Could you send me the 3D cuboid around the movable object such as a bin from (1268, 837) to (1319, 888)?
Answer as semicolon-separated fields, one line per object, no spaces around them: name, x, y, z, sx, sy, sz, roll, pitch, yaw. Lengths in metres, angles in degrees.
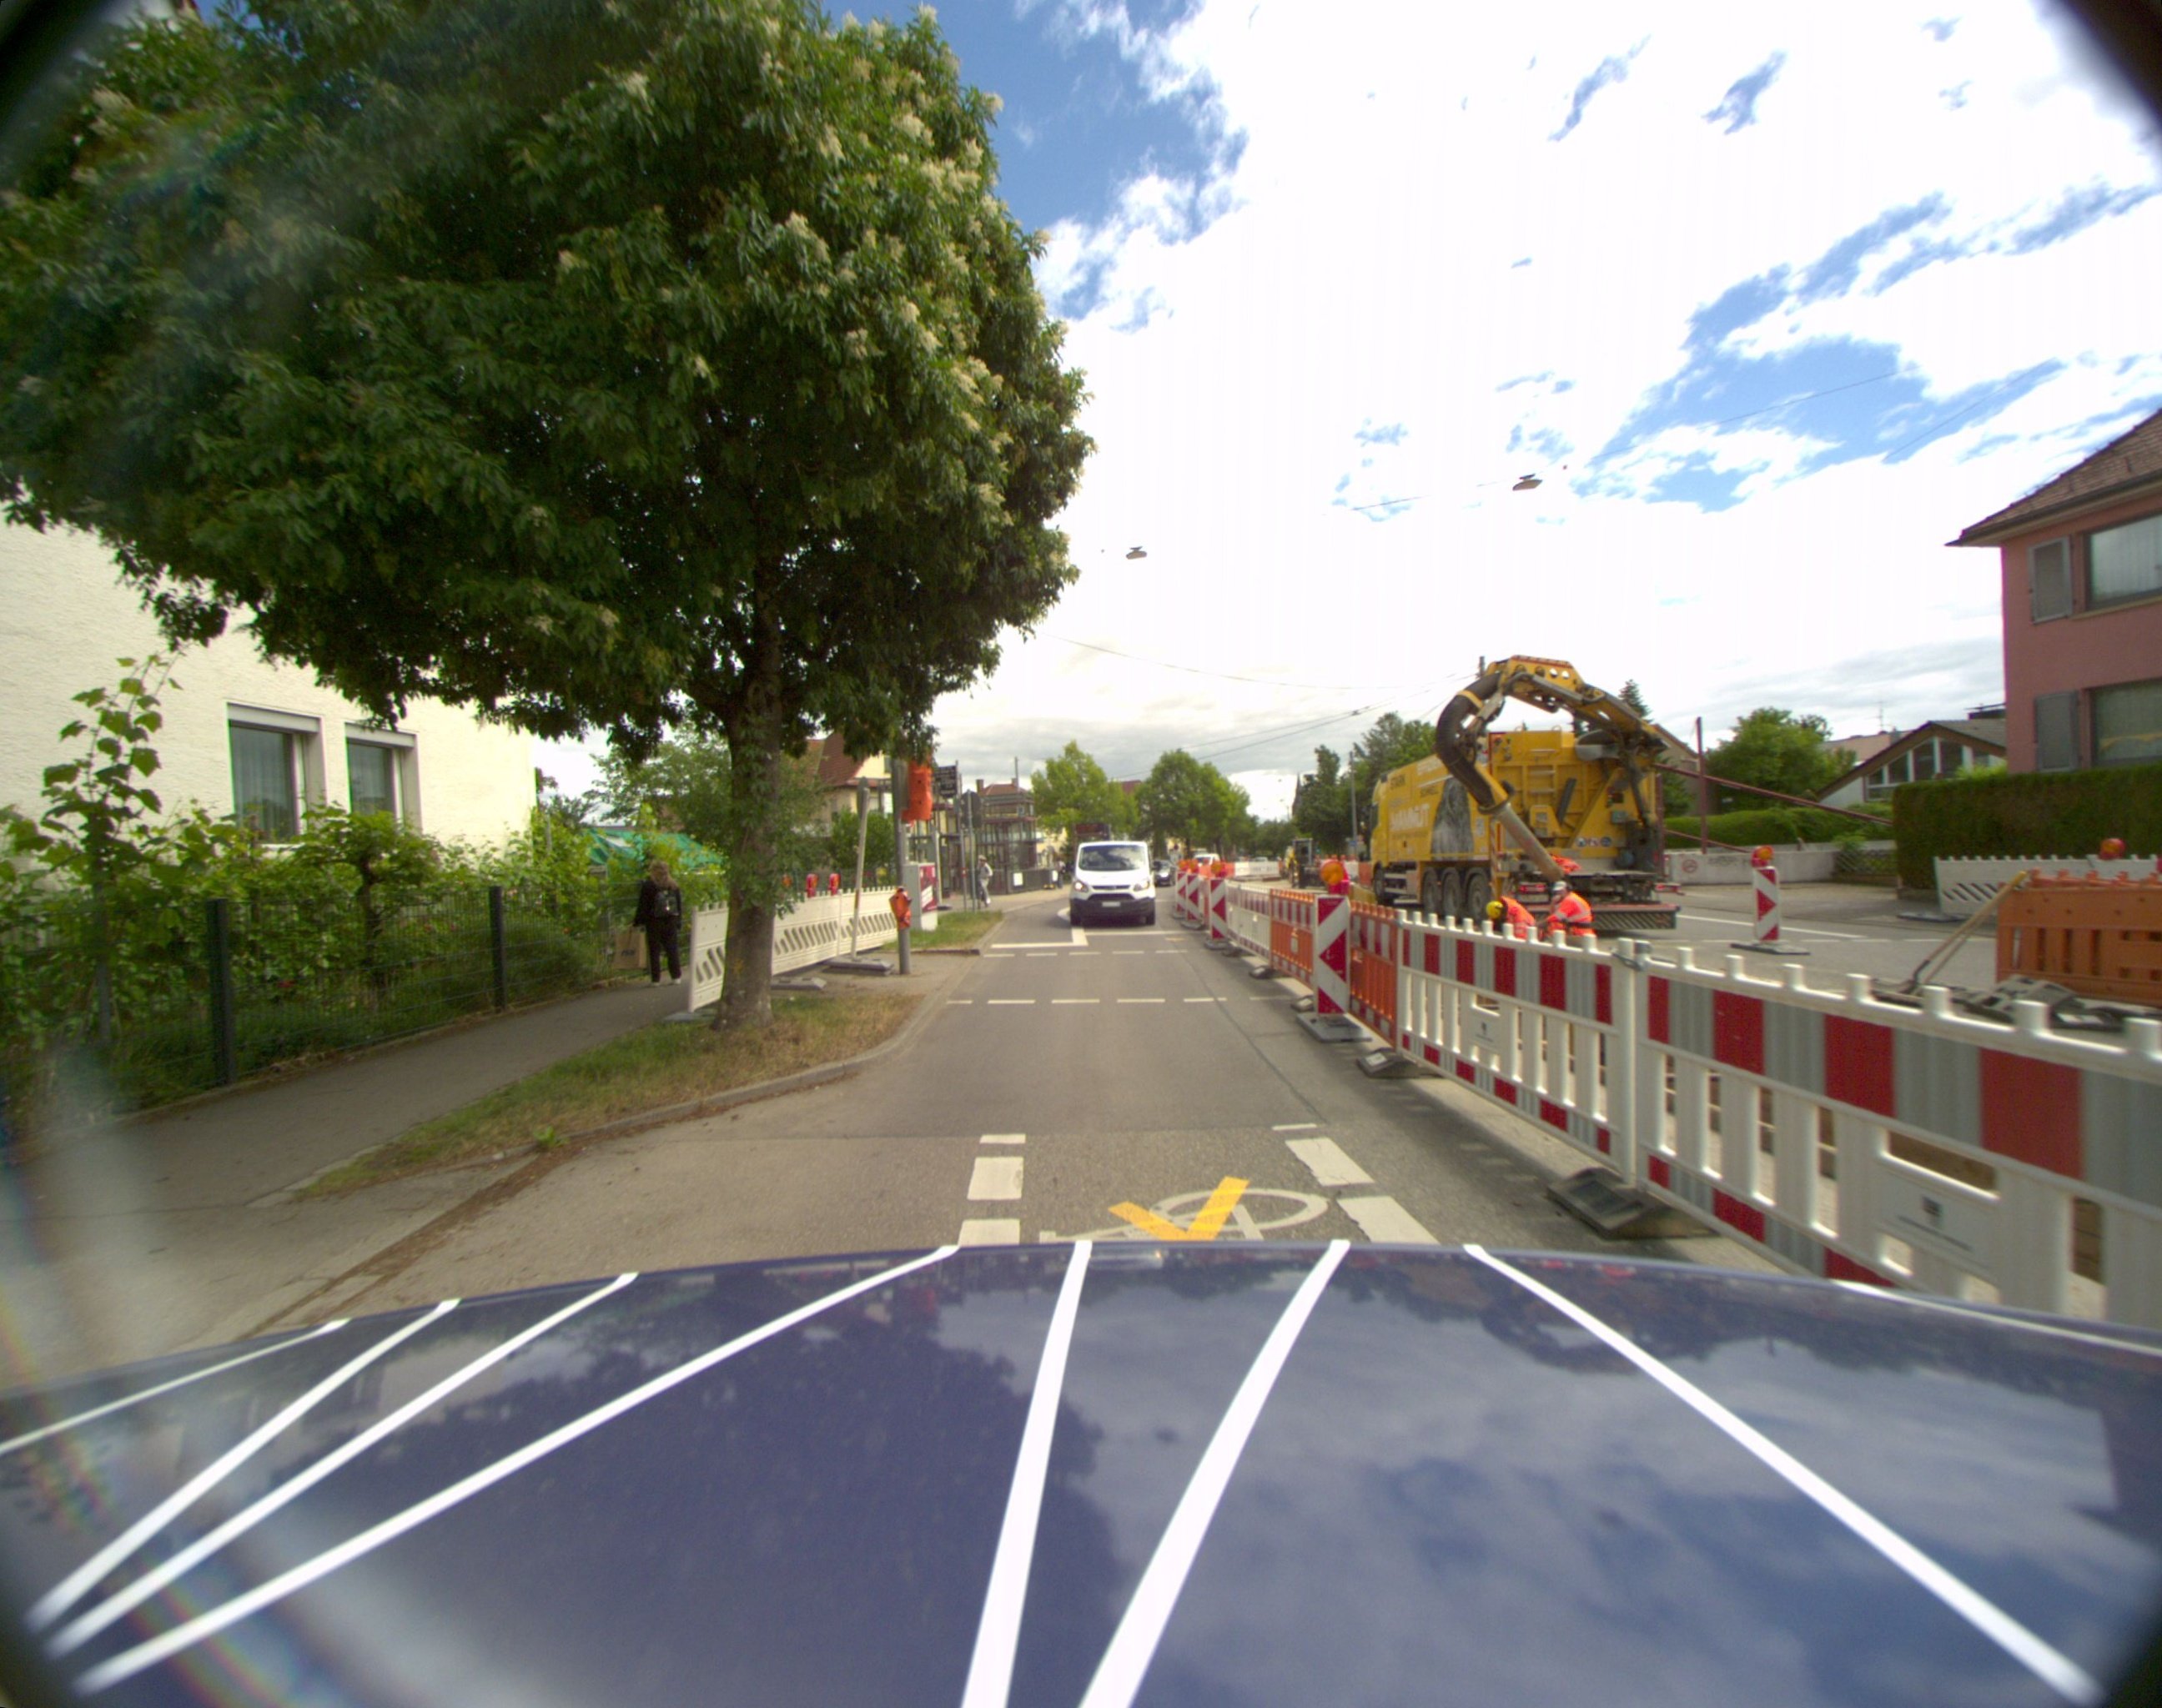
movable object such as a bin;12.100;0.456;42.926;1.995;2.610;6.533;-1;0;22

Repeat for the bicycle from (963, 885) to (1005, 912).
bicycle;-3.069;1.402;24.180;0.636;0.749;2.064;-2;-1;13

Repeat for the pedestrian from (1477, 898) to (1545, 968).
pedestrian;6.540;1.183;11.595;0.791;0.985;0.813;-1;0;22

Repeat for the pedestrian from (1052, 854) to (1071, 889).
pedestrian;-0.942;0.839;36.456;0.599;1.573;0.402;-8;1;12

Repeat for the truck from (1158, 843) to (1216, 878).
truck;11.298;0.718;81.349;2.346;3.178;6.620;-1;-4;-31

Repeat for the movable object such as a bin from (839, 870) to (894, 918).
movable object such as a bin;-6.859;1.276;24.339;1.269;1.461;1.006;-3;0;19

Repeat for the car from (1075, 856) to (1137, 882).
car;1.730;1.107;54.047;3.990;1.615;1.873;-4;-2;39

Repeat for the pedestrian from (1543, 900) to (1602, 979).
pedestrian;6.815;1.162;10.557;0.641;0.985;0.795;-1;0;32

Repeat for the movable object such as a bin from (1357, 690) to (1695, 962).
movable object such as a bin;8.951;-0.395;17.432;2.596;4.196;11.128;-1;0;8

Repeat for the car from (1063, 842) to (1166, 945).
car;0.749;0.810;18.404;1.998;2.002;5.513;-3;0;1

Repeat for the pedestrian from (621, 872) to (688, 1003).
pedestrian;-5.234;0.997;9.346;0.522;1.531;0.635;-1;0;-13

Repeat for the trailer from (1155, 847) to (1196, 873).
trailer;9.251;0.573;74.097;2.595;2.231;5.682;-5;-1;20

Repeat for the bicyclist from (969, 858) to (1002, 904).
bicyclist;-3.032;0.847;24.207;0.657;1.407;1.180;-2;-1;12
